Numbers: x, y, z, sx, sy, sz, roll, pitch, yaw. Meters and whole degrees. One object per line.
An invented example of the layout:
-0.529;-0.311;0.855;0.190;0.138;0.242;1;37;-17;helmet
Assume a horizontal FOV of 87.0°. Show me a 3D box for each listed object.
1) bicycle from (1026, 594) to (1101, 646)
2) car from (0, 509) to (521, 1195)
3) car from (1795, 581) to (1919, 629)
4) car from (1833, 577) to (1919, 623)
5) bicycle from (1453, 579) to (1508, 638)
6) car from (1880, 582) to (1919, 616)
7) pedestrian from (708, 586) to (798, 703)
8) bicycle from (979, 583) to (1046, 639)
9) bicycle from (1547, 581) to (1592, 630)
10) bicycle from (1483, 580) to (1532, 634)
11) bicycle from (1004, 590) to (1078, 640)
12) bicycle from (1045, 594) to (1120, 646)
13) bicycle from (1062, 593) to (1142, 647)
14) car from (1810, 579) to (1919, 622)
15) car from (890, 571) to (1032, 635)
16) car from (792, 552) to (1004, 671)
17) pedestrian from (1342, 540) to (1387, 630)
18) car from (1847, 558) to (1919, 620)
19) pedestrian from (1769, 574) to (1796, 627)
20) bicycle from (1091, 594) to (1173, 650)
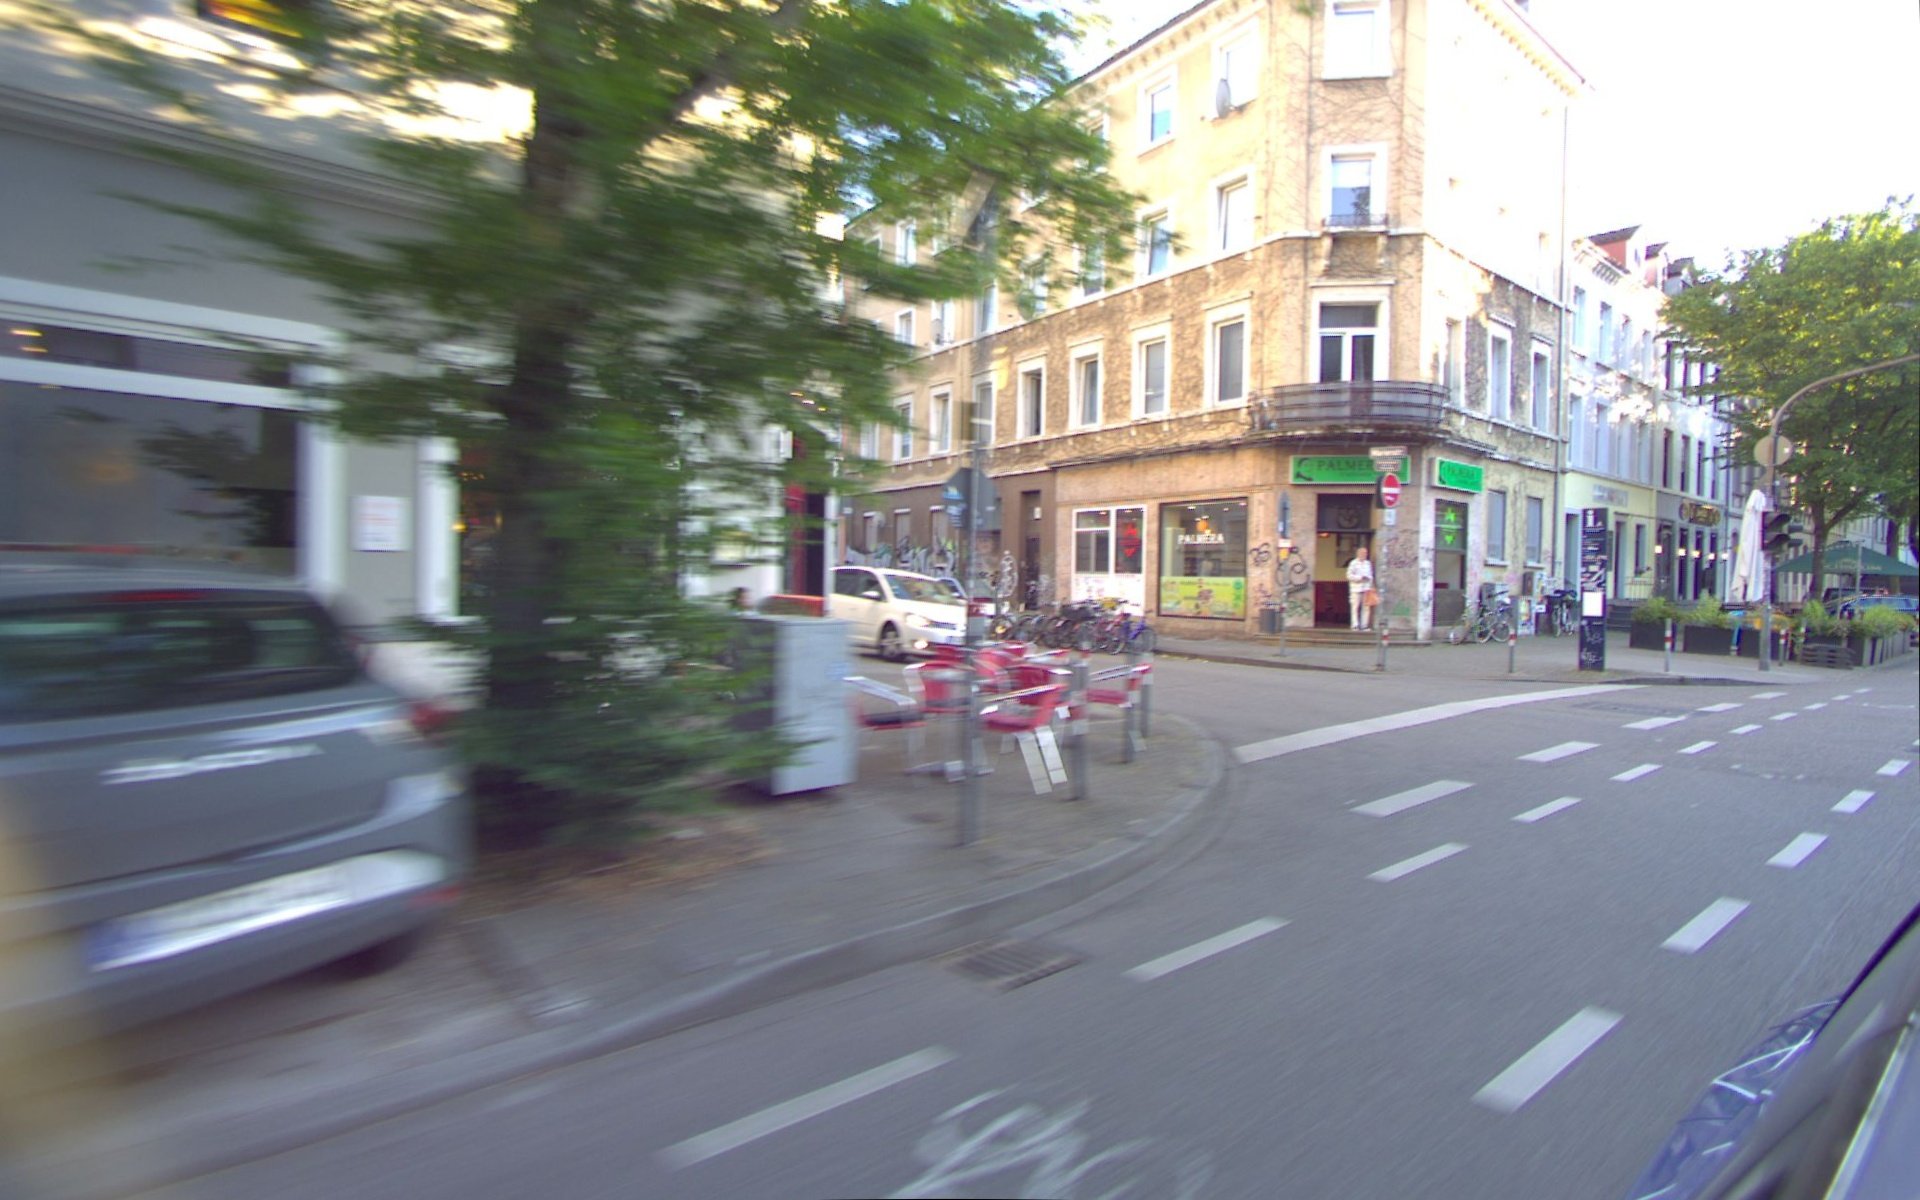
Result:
2.339;0.457;22.750;1.855;1.113;0.509;2;-1;-41;bicycle
-3.642;0.522;3.720;3.967;1.559;1.760;1;1;31;car
33.059;0.197;36.127;4.586;1.536;1.796;3;1;24;car
37.645;0.019;40.410;1.692;1.720;3.989;1;2;-41;car
11.364;0.172;22.085;1.558;1.225;0.524;0;1;-41;bicycle
48.801;0.028;50.515;1.691;1.618;3.993;1;2;-39;car
-2.170;0.443;10.632;0.644;1.169;0.685;1;1;26;pedestrian
1.275;0.276;24.193;0.508;1.297;1.858;1;-1;43;bicycle
15.872;0.137;26.345;1.752;1.225;0.471;0;1;-41;bicycle
12.726;0.153;23.494;1.558;1.225;0.471;0;1;-41;bicycle
1.895;0.352;23.524;1.855;1.113;0.538;2;-1;-41;bicycle
2.721;0.453;22.398;1.855;1.113;0.509;2;-1;-41;bicycle
3.090;0.451;21.918;1.855;1.113;0.609;2;-1;-41;bicycle
34.815;0.042;38.098;4.093;1.470;1.788;4;2;35;car
-0.058;0.048;26.941;1.748;1.536;4.063;2;0;-35;car
-1.247;0.142;18.236;1.870;1.864;4.337;0;1;-35;car
8.616;-0.314;21.567;0.600;1.855;0.561;3;0;-4;pedestrian
42.538;-0.439;44.323;5.197;2.652;1.905;3;3;34;car
27.861;0.009;34.280;0.633;1.773;0.499;0;3;-36;pedestrian
3.655;0.476;21.366;1.855;1.113;0.659;2;-1;-41;bicycle
